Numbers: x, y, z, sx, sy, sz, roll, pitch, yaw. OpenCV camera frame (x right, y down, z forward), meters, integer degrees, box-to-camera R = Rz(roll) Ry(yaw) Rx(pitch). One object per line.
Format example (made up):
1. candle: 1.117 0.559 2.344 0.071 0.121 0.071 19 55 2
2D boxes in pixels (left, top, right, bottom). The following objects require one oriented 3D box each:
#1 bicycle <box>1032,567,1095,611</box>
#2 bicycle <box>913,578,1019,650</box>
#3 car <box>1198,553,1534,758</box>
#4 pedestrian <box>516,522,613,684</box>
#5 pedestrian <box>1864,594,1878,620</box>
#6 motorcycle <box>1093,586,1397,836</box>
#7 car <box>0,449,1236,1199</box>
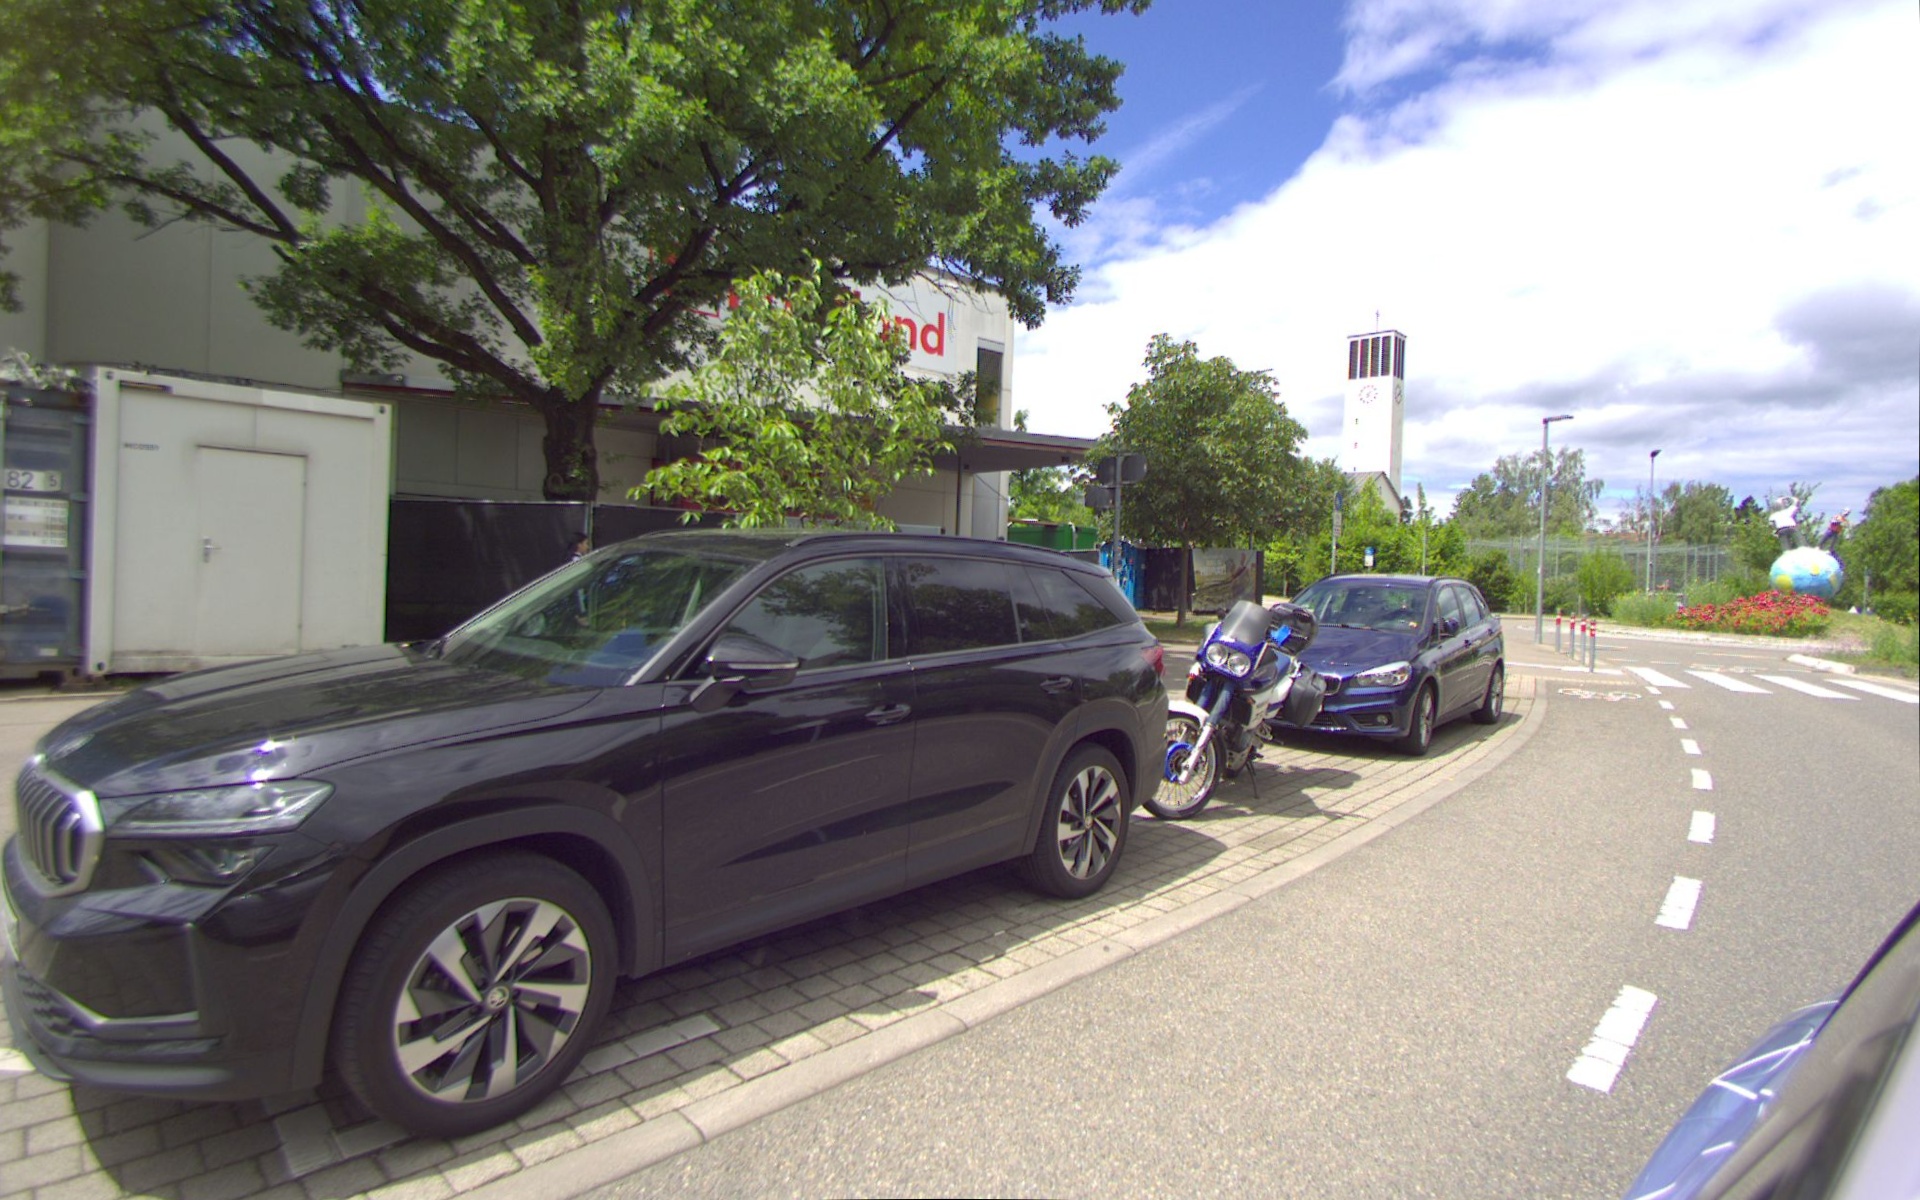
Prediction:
1. bicycle: 3.075 -0.341 30.015 1.749 1.249 0.711 1 1 18
2. bicycle: 0.111 0.219 16.948 1.754 1.170 0.452 0 1 -28
3. car: 4.355 0.393 10.426 1.915 1.597 4.366 4 3 40
4. pedestrian: -4.193 0.019 10.713 0.754 1.638 0.744 0 1 -40
5. pedestrian: 61.201 0.467 67.997 0.605 1.718 0.559 2 1 37
6. motorcycle: 1.985 0.601 6.804 1.071 1.321 2.227 5 4 40
7. car: -0.847 0.466 4.276 1.879 1.641 4.772 4 3 42
